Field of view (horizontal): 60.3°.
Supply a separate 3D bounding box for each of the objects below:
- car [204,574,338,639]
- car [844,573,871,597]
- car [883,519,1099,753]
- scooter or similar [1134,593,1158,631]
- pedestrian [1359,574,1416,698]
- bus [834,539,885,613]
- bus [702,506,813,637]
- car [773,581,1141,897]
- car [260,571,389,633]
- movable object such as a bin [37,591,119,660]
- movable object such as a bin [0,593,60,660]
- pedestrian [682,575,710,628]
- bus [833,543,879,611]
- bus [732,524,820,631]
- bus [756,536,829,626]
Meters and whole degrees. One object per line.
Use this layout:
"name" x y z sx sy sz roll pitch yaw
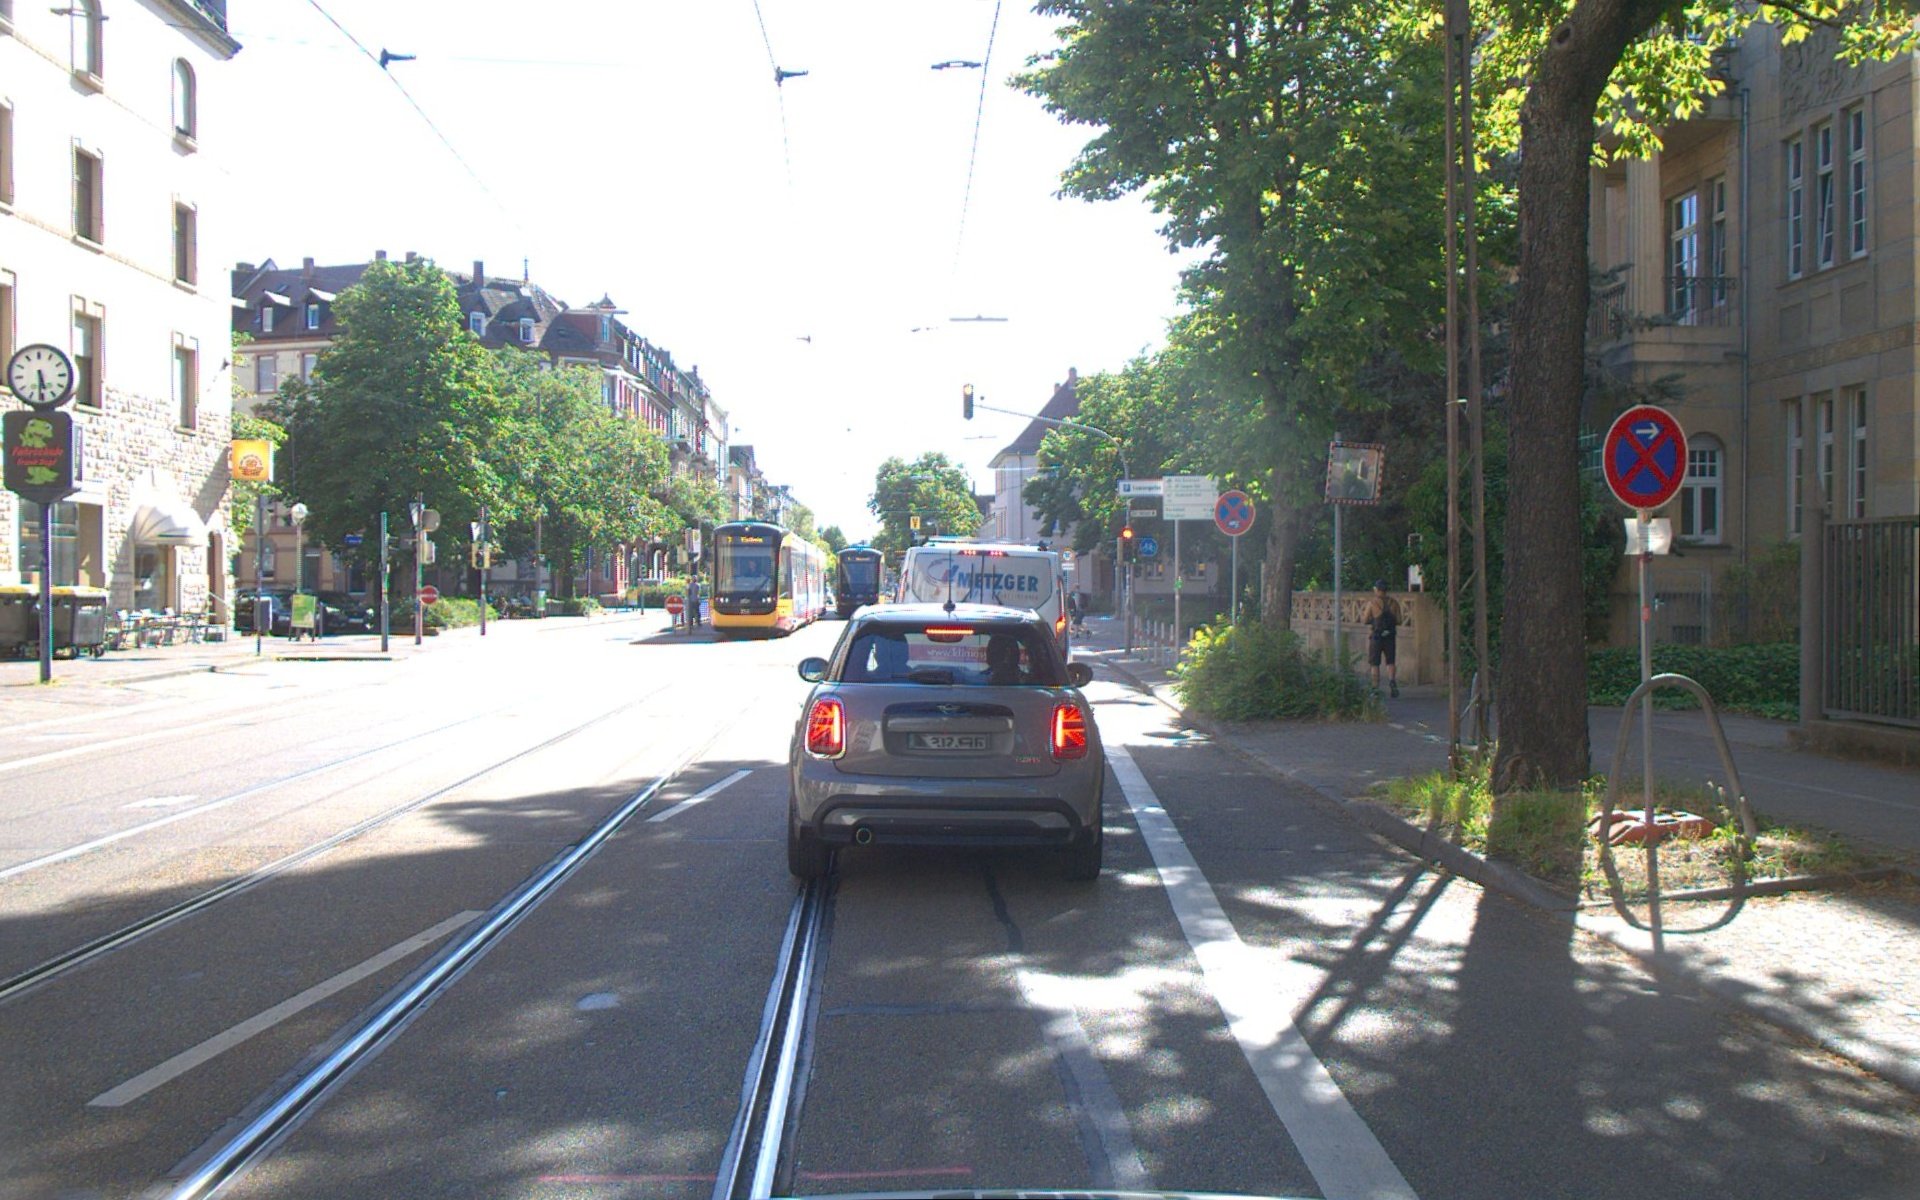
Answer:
"car" -22.571 0.211 54.187 3.910 2.049 1.997 1 0 28
"car" -7.292 -1.040 117.439 1.827 1.591 3.996 1 0 -4
"car" 0.269 0.364 18.654 2.075 2.247 4.943 1 0 -1
"scooter or similar" 6.609 0.426 58.909 0.662 1.333 1.328 1 0 -2
"pedestrian" 5.974 0.497 23.135 0.580 1.700 0.646 -2 0 -1
"bus" -5.174 -1.165 84.422 2.339 3.557 7.376 1 0 -5
"bus" -6.515 -0.822 54.713 2.803 3.843 11.490 1 0 -3
"car" -0.039 0.689 10.089 1.778 1.514 3.999 1 0 -1
"car" -21.624 0.061 56.278 3.910 2.049 1.997 1 0 28
"movable object such as a bin" -17.081 0.489 32.046 0.925 1.296 1.144 1 0 3
"movable object such as a bin" -17.972 0.488 31.596 0.815 1.244 1.244 1 0 1
"pedestrian" -9.332 0.062 58.495 0.864 1.833 0.902 1 -1 -2
"bus" -5.821 -1.205 91.827 2.339 3.557 7.376 1 0 -5
"bus" -7.200 -0.799 66.078 2.803 3.843 11.176 1 0 -3
"bus" -7.733 -0.796 77.656 2.793 3.843 12.189 1 0 -3
